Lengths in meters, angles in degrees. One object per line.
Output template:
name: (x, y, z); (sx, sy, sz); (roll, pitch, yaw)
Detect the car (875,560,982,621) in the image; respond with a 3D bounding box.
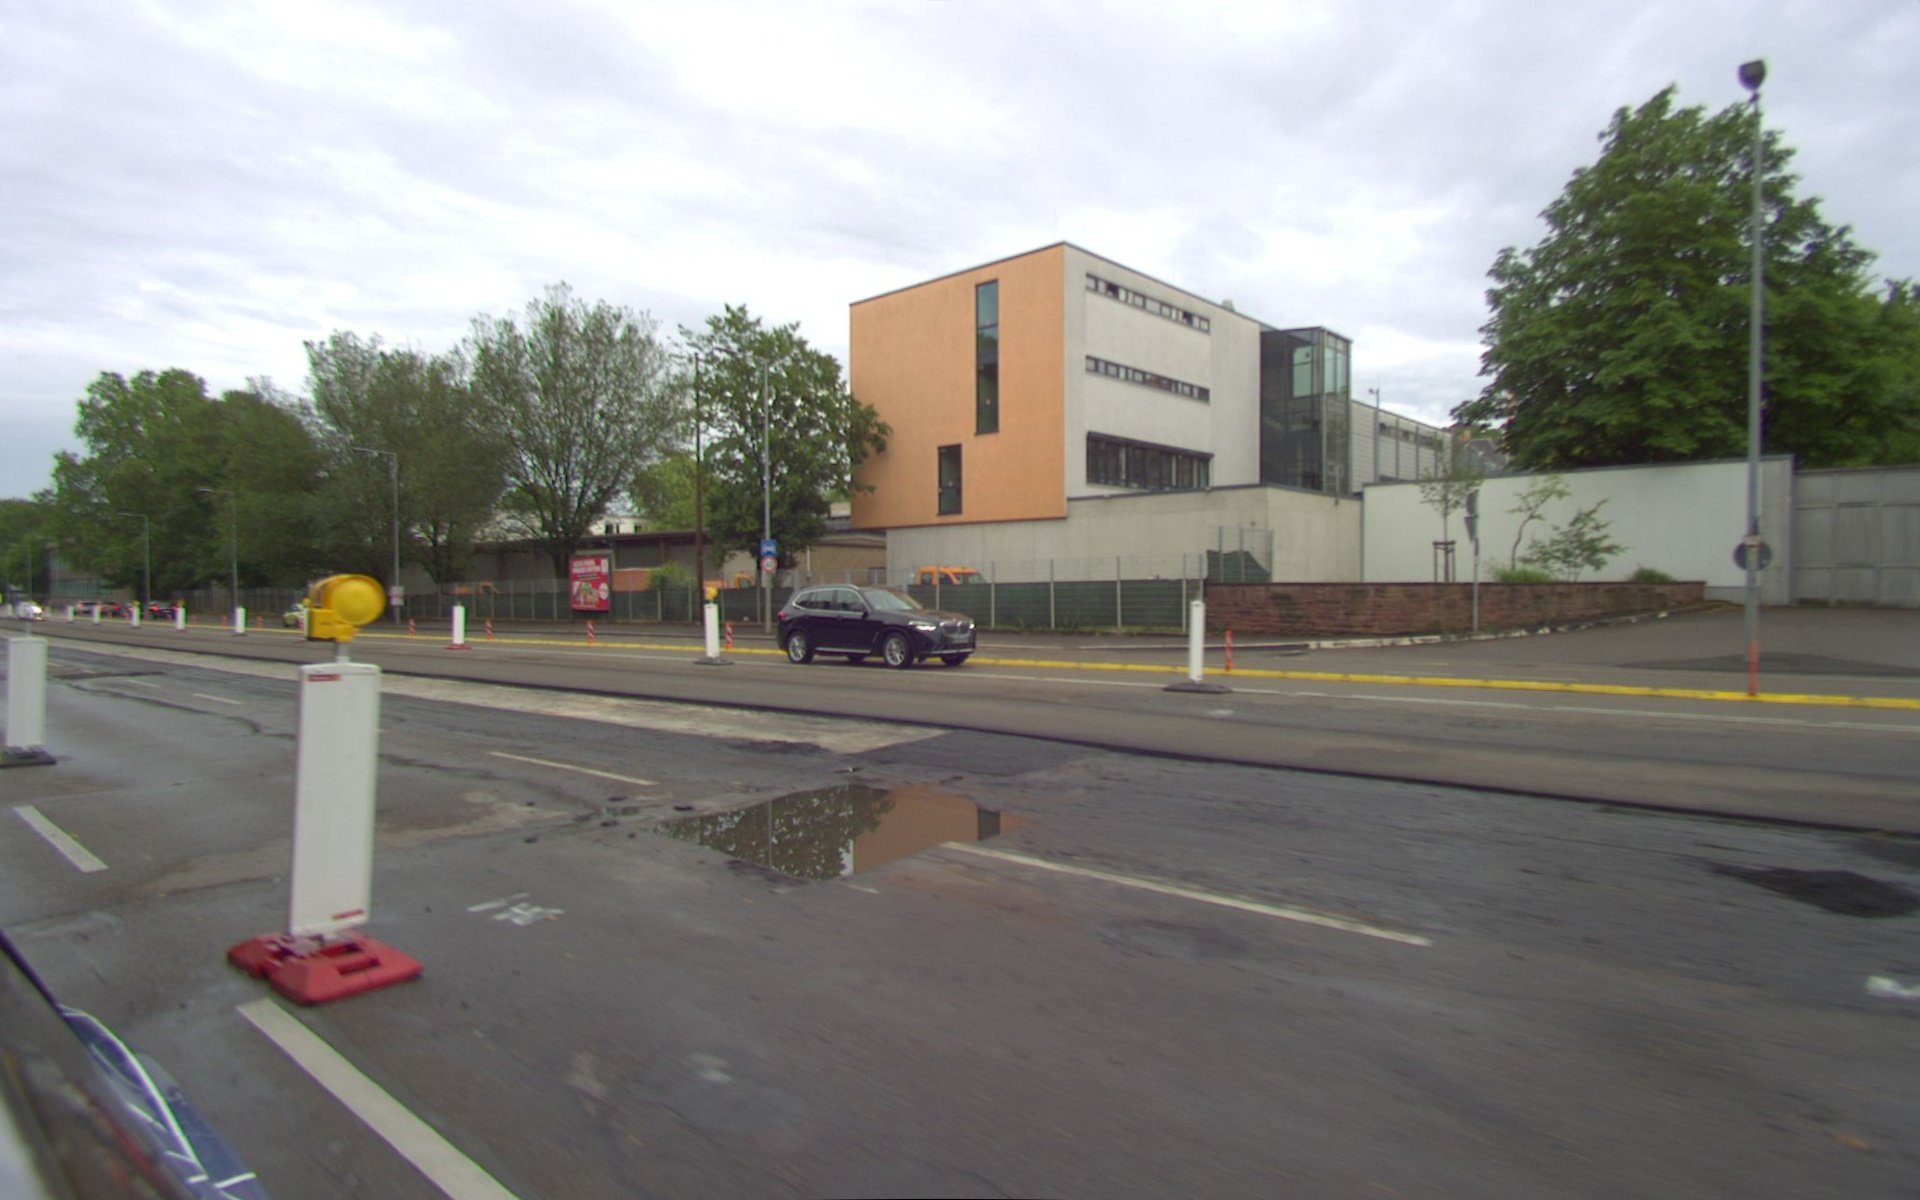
car: (-1.235, -0.342, 38.392); (3.997, 2.187, 1.594); (-1, 0, 40)

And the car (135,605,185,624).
car: (-70.114, 1.246, 88.707); (4.308, 1.642, 1.847); (0, -1, 28)

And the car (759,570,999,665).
car: (-1.761, 0.378, 20.758); (4.980, 1.719, 1.973); (-2, -2, 40)

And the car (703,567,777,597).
car: (-12.264, -0.983, 56.531); (3.958, 1.539, 2.005); (-1, 0, -11)

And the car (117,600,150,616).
car: (-78.846, 0.730, 96.555); (3.731, 1.487, 1.839); (-1, -1, 42)

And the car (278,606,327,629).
car: (-40.175, 1.072, 61.786); (3.802, 1.378, 1.537); (-1, -1, 41)

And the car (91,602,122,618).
car: (-88.921, 1.008, 105.430); (4.363, 1.631, 1.839); (-1, -1, 42)
